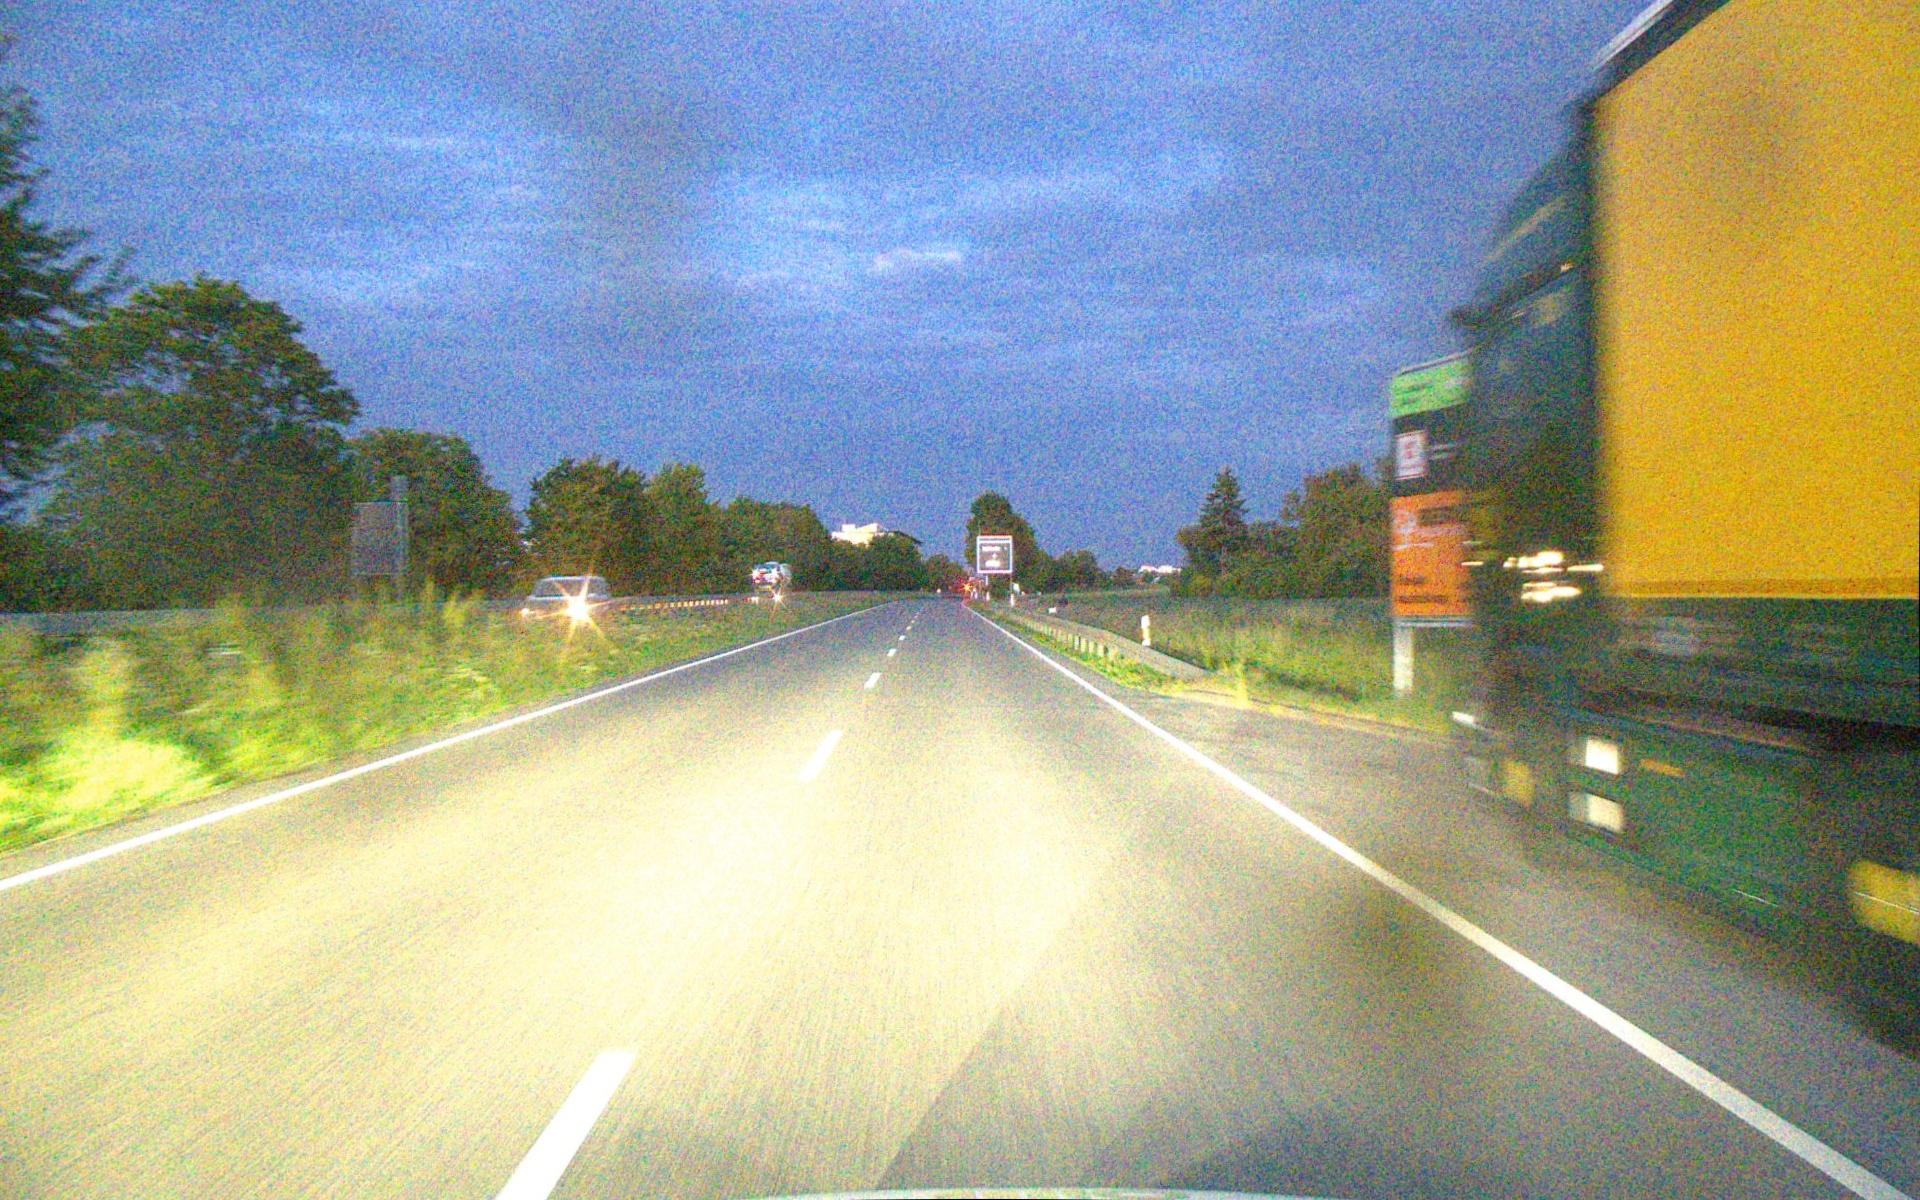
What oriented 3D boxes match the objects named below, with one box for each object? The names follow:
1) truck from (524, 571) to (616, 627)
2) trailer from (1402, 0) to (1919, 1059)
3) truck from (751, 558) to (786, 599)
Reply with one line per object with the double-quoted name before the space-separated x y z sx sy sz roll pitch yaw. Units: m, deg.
"truck" -12.605 -0.033 53.740 1.975 1.681 4.772 1 0 -2
"trailer" 4.284 -0.657 4.335 2.569 4.175 12.935 0 0 -1
"truck" -16.952 -1.866 146.834 2.173 3.505 6.714 1 0 0
